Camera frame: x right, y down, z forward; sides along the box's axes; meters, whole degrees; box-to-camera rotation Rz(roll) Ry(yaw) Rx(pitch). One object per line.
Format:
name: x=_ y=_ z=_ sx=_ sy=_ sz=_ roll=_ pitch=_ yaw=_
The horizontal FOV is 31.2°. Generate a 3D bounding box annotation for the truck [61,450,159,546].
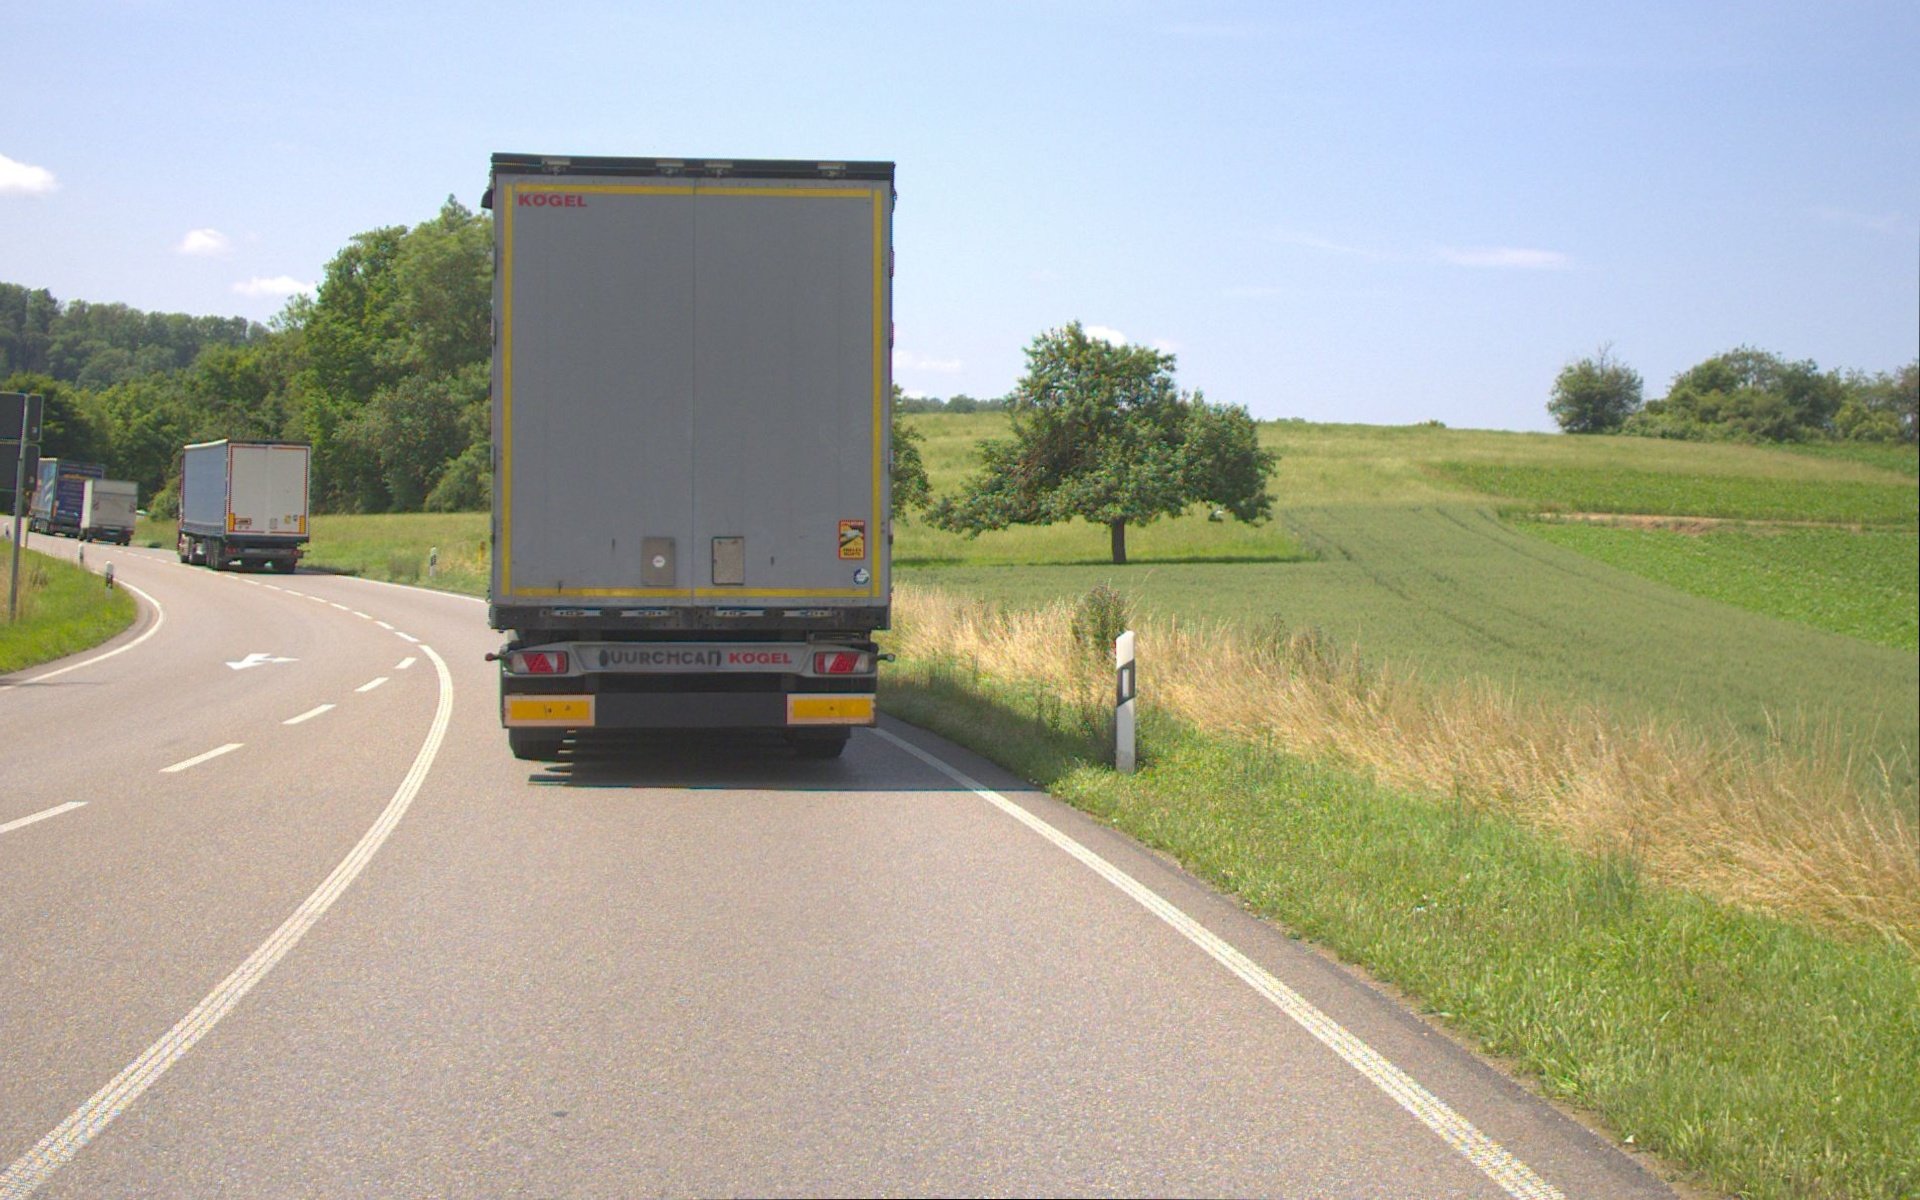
truck: x=-41.572 y=-4.891 z=167.866 sx=3.636 sy=4.115 sz=13.101 roll=3 pitch=-1 yaw=-17

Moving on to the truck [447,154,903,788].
truck: x=-2.331 y=-0.867 z=26.358 sx=2.807 sy=3.932 sz=9.593 roll=1 pitch=1 yaw=-7

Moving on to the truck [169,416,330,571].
truck: x=-23.243 y=-3.352 z=111.634 sx=2.960 sy=4.568 sz=16.321 roll=2 pitch=0 yaw=-19

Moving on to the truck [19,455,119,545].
truck: x=-47.866 y=-5.276 z=184.339 sx=3.528 sy=4.226 sz=13.409 roll=3 pitch=-1 yaw=-21
